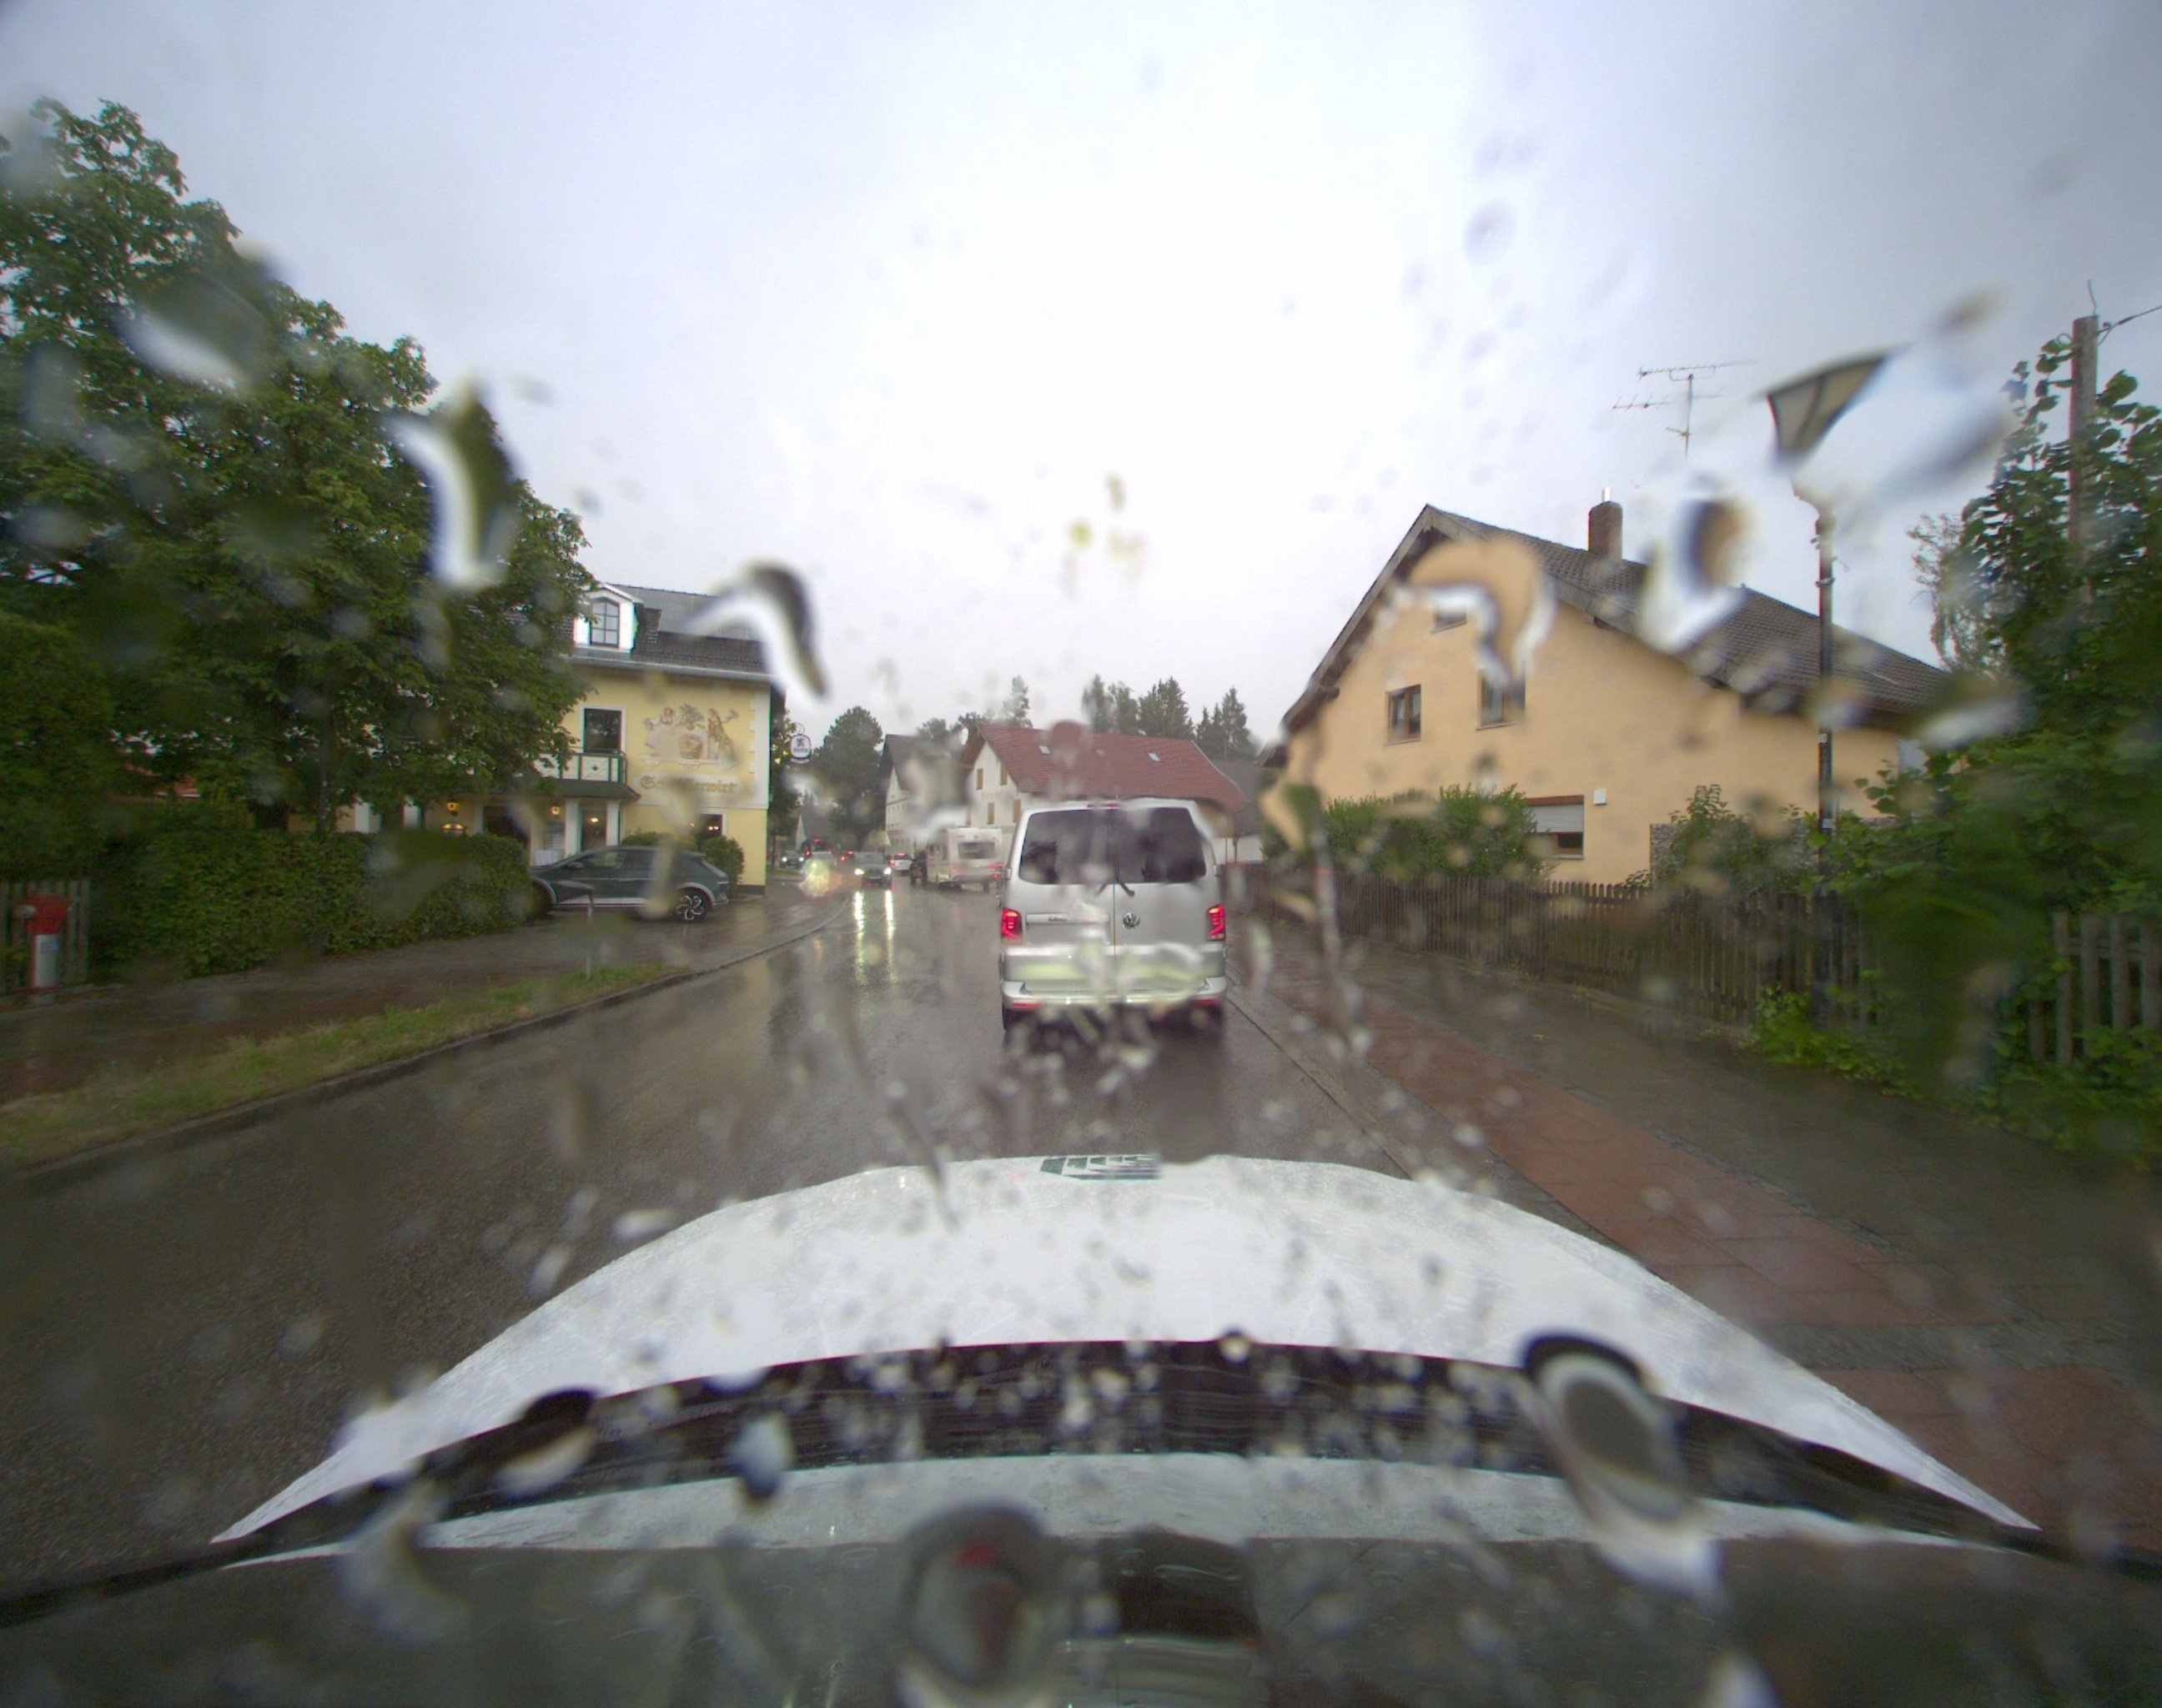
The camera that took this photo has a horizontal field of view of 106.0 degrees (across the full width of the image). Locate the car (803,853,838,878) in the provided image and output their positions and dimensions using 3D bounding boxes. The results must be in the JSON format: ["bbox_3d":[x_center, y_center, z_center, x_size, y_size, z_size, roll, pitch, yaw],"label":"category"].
[{"bbox_3d":[-18.374,0.818,57.348,1.762,1.677,3.966,-1,0,-25],"label":"car"}]

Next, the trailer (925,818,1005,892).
[{"bbox_3d":[-5.180,0.046,35.486,2.278,2.904,6.091,0,0,-20],"label":"trailer"}]

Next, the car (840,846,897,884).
[{"bbox_3d":[-10.446,0.519,39.821,1.932,1.744,4.157,-1,0,-25],"label":"car"}]

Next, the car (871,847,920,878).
[{"bbox_3d":[-12.349,0.560,53.976,2.179,1.899,4.973,1,-1,-24],"label":"car"}]

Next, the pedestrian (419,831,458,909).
[{"bbox_3d":[-14.156,0.350,17.941,0.547,1.690,0.495,3,-1,41],"label":"pedestrian"}]

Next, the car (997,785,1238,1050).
[{"bbox_3d":[0.377,0.480,8.639,1.769,1.962,5.077,-1,0,2],"label":"car"}]

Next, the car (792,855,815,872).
[{"bbox_3d":[-33.782,1.108,98.974,2.179,1.899,4.974,1,0,-24],"label":"car"}]

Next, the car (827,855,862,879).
[{"bbox_3d":[-20.429,1.097,70.303,2.179,1.899,4.974,1,0,-24],"label":"car"}]

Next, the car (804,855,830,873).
[{"bbox_3d":[-28.993,1.069,89.412,2.179,1.899,4.974,1,0,-24],"label":"car"}]

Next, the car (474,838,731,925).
[{"bbox_3d":[-10.113,0.614,17.618,4.499,1.567,1.824,4,1,-27],"label":"car"}]

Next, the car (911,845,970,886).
[{"bbox_3d":[-7.111,0.548,40.769,2.061,1.899,5.140,0,0,-20],"label":"car"}]

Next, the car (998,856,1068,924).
[{"bbox_3d":[-1.370,0.910,22.819,1.705,1.584,4.679,-2,1,-4],"label":"car"}]

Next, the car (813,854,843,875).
[{"bbox_3d":[-24.596,0.966,79.059,2.179,1.899,4.974,1,0,-24],"label":"car"}]

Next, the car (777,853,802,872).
[{"bbox_3d":[-26.782,0.779,74.763,1.597,1.610,3.504,-1,0,-30],"label":"car"}]
